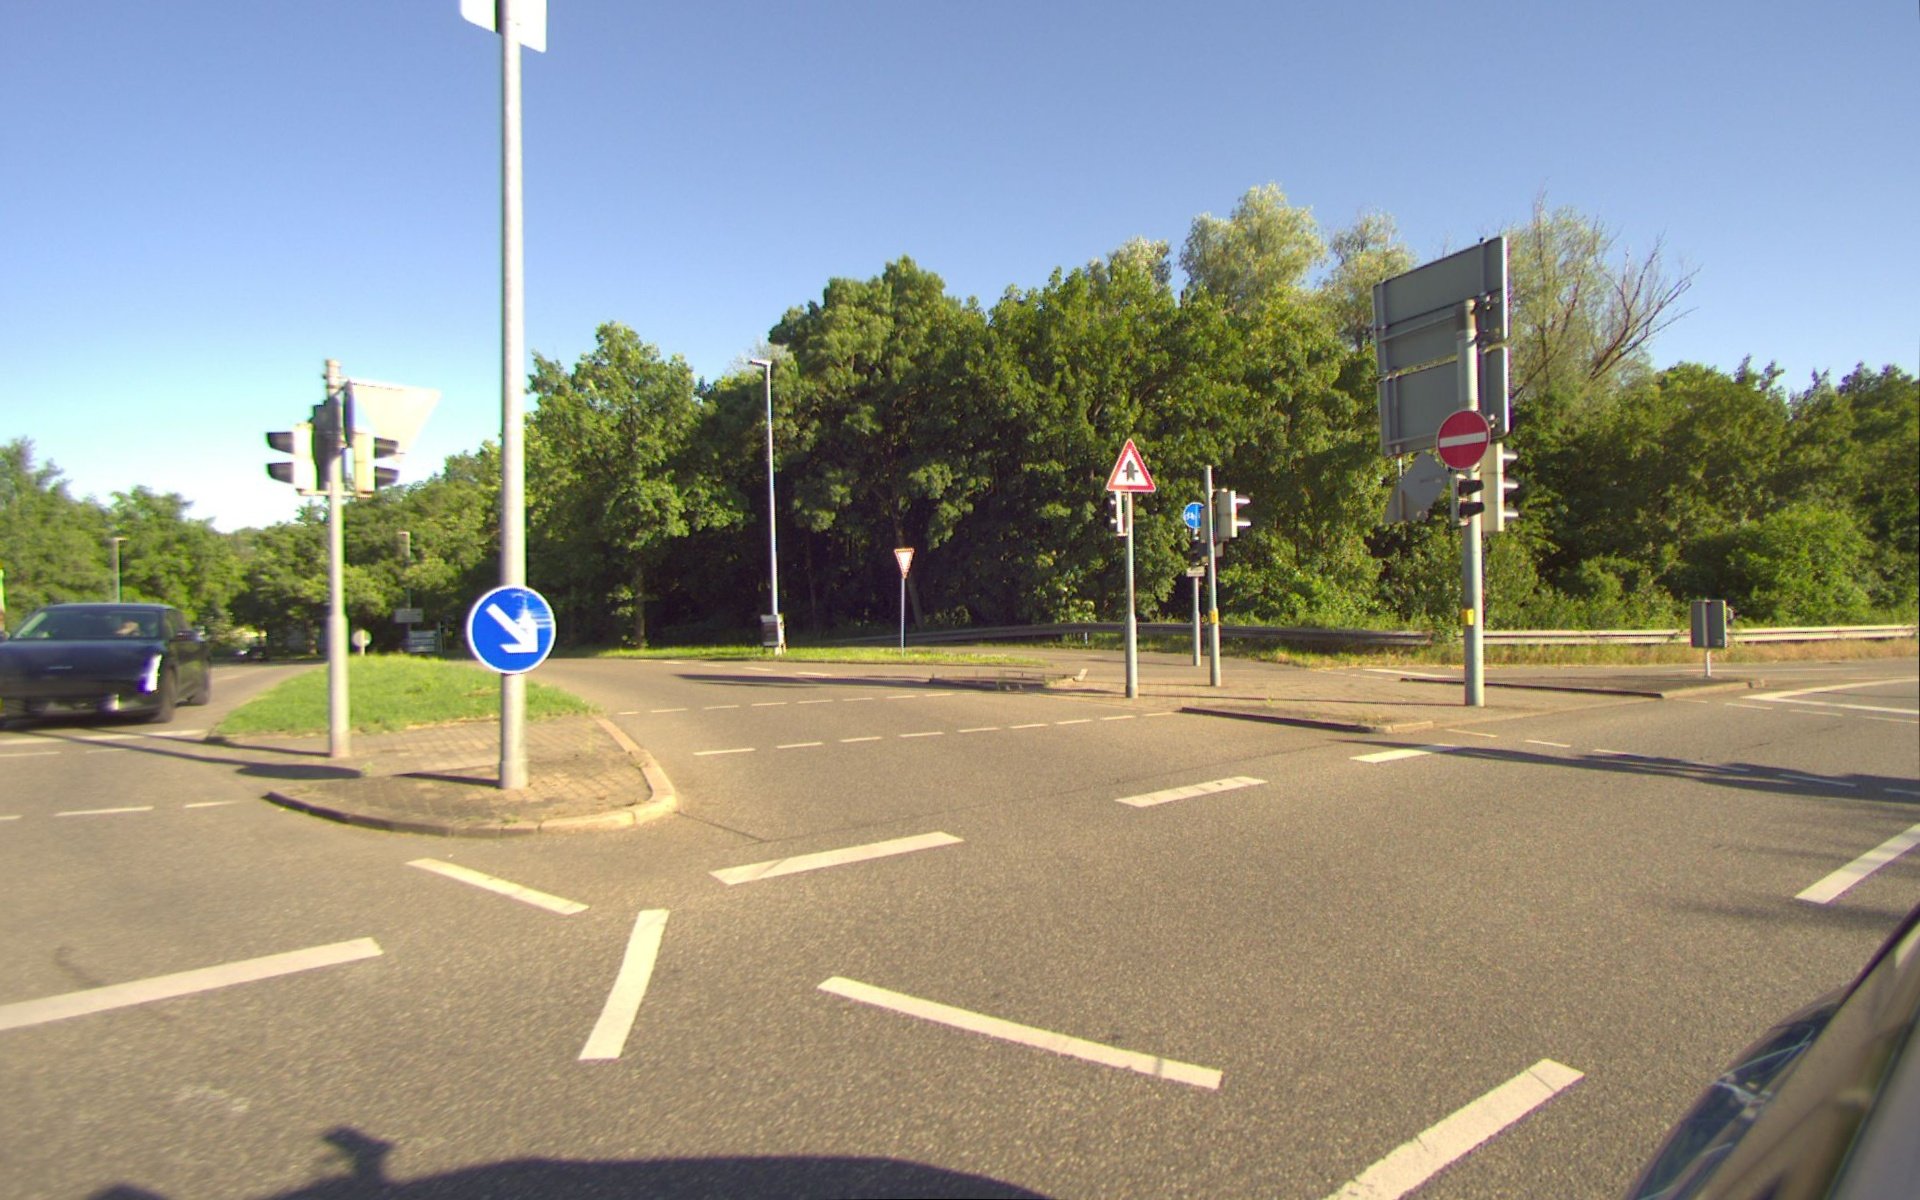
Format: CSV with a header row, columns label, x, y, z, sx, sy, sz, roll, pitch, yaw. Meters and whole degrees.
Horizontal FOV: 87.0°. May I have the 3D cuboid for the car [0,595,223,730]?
label,x,y,z,sx,sy,sz,roll,pitch,yaw
car,-11.213,0.708,13.254,1.960,1.483,4.477,0,-1,-29

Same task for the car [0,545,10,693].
label,x,y,z,sx,sy,sz,roll,pitch,yaw
car,-15.655,0.250,14.241,2.066,2.440,5.290,0,-2,-29
